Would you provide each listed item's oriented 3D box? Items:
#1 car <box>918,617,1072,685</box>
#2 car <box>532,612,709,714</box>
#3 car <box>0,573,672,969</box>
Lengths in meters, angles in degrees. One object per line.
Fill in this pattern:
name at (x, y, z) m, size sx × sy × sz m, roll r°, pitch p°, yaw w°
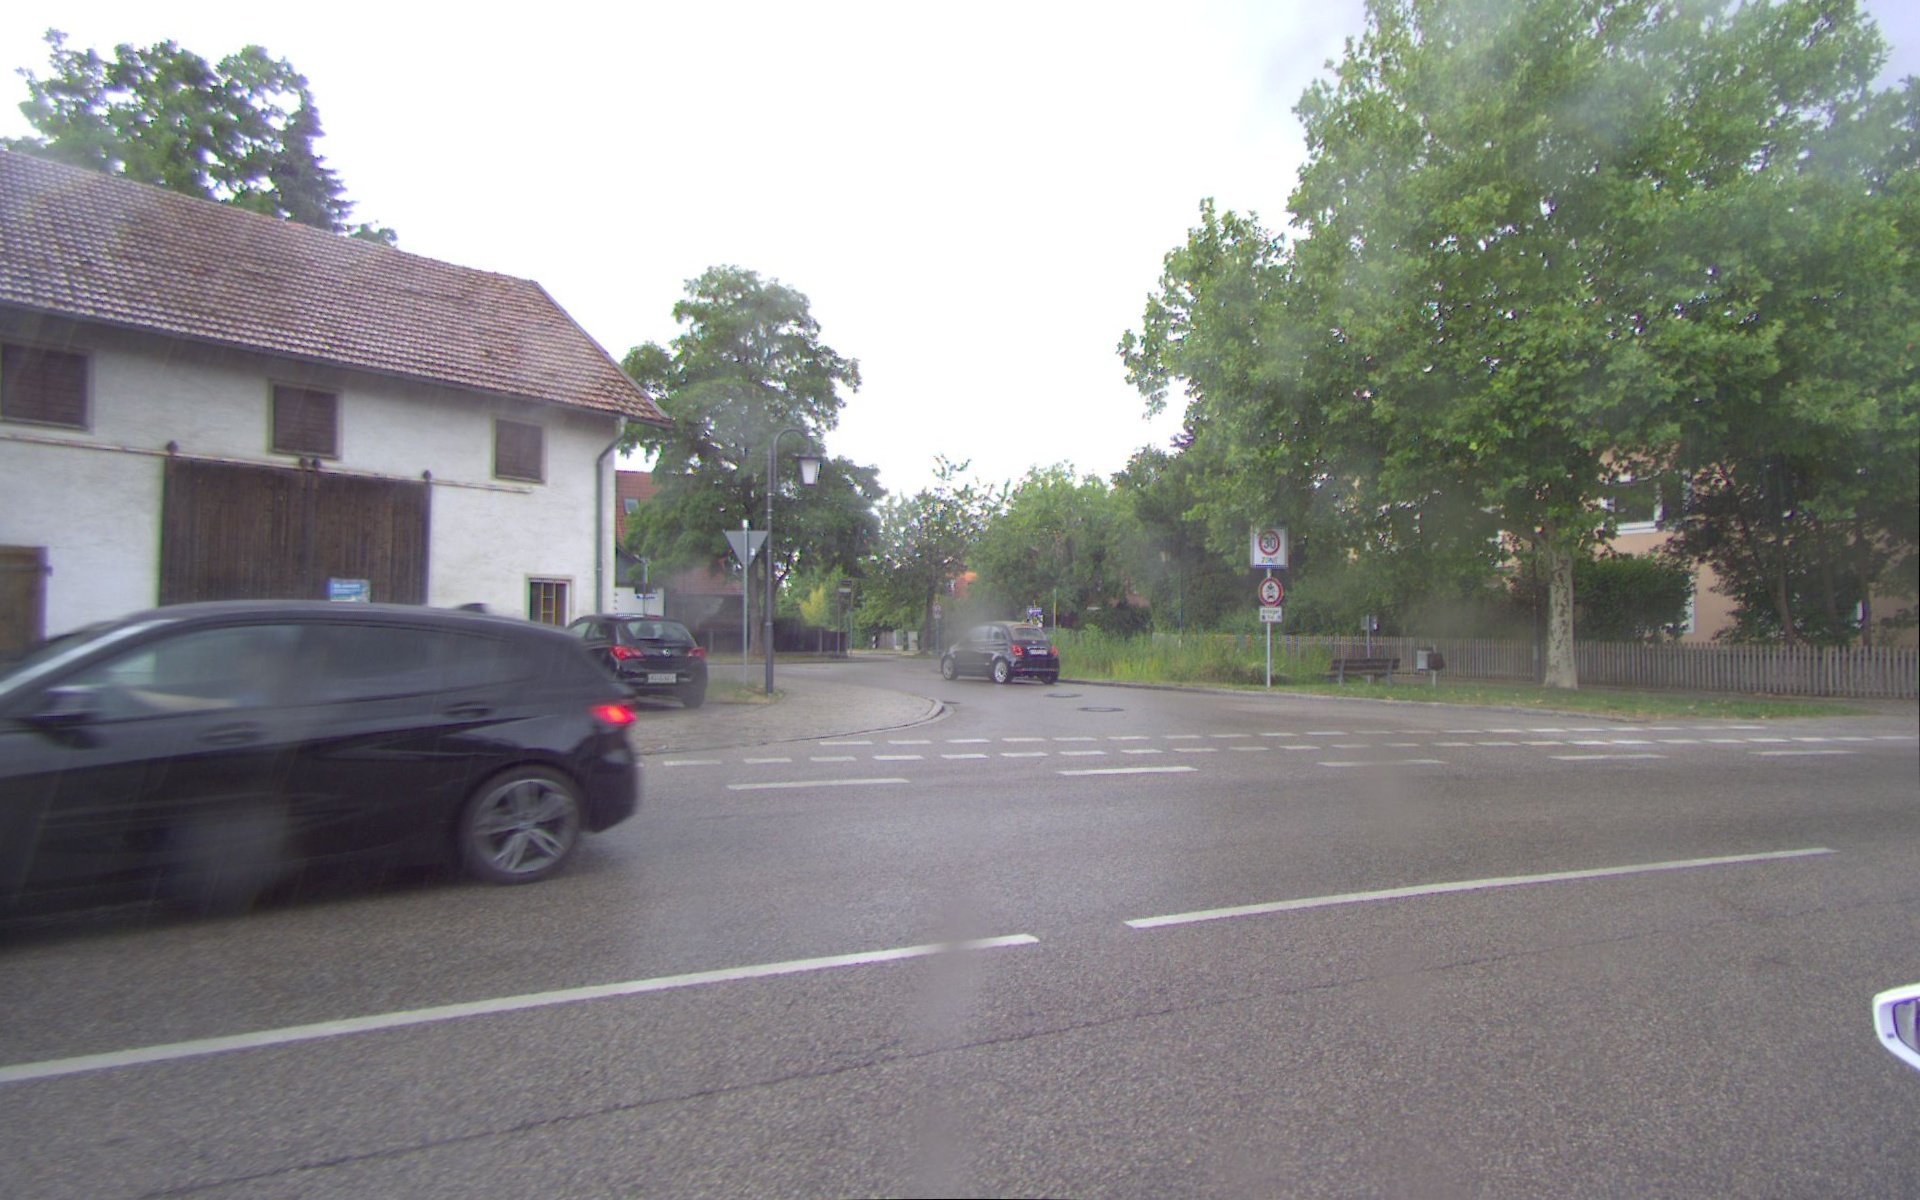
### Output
car at (0.782, 1.225, 25.380) m, size 1.859 × 1.569 × 4.244 m, roll 2°, pitch -2°, yaw -32°
car at (-5.726, 0.952, 16.591) m, size 1.801 × 1.455 × 4.243 m, roll 2°, pitch -2°, yaw -33°
car at (-3.721, 0.677, 5.004) m, size 4.029 × 1.511 × 1.796 m, roll 2°, pitch -1°, yaw -42°
